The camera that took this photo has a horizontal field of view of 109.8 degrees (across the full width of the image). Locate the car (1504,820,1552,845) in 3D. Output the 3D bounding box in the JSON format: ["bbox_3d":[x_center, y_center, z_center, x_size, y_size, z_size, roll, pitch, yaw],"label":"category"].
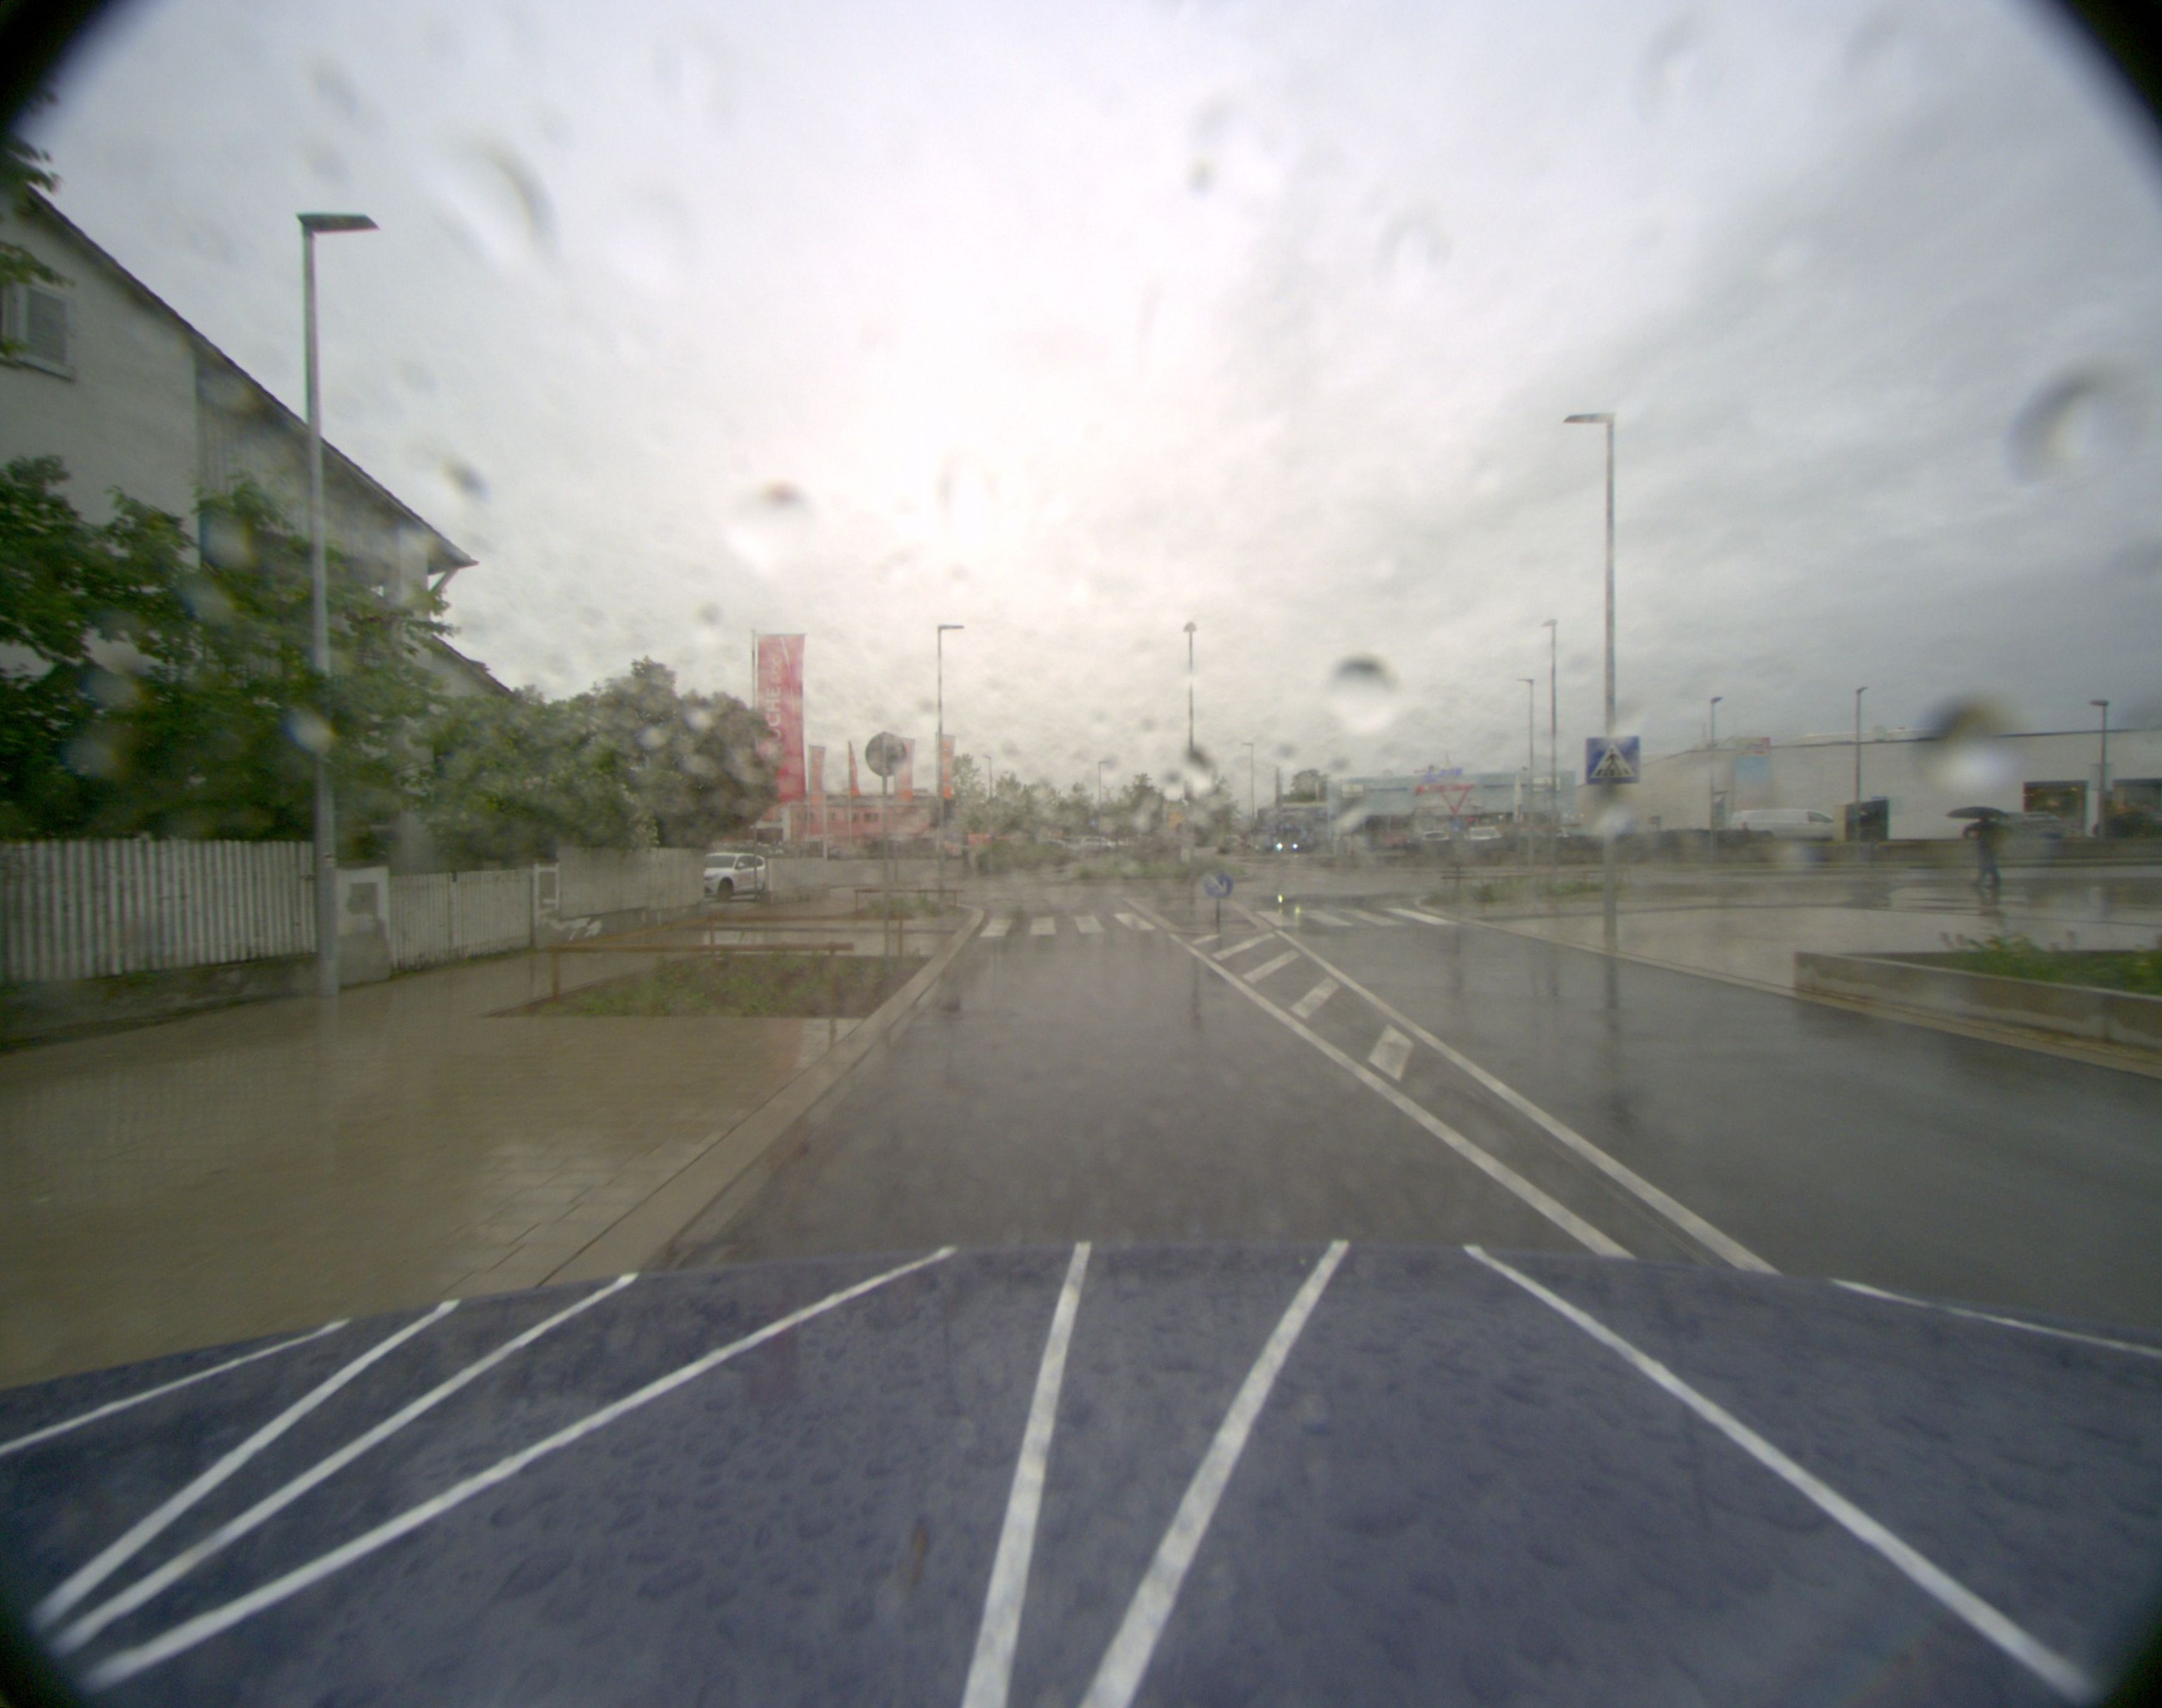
[{"bbox_3d":[26.685,-1.298,45.467,1.884,1.288,4.006,-4,0,23],"label":"car"}]

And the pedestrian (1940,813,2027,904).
[{"bbox_3d":[20.657,0.090,17.414,0.893,2.002,0.931,-2,1,-5],"label":"pedestrian"}]

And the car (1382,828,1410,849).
[{"bbox_3d":[24.884,-1.220,60.025,1.884,1.477,4.006,-4,0,23],"label":"car"}]

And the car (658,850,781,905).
[{"bbox_3d":[-11.967,0.745,25.468,1.845,1.681,4.172,-1,0,5],"label":"car"}]

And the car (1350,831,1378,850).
[{"bbox_3d":[22.541,-1.082,60.464,1.884,1.288,4.006,-4,0,23],"label":"car"}]

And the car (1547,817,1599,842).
[{"bbox_3d":[28.772,-1.430,44.552,1.884,1.288,4.006,-4,0,23],"label":"car"}]

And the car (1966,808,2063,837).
[{"bbox_3d":[53.673,-1.770,43.791,1.790,1.543,4.006,-1,1,21],"label":"car"}]

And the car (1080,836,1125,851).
[{"bbox_3d":[2.126,-1.031,75.336,3.990,1.433,2.003,-1,0,24],"label":"car"}]

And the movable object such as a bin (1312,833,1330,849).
[{"bbox_3d":[21.041,-1.151,66.604,1.212,1.288,1.481,-4,0,23],"label":"movable object such as a bin"}]

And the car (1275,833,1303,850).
[{"bbox_3d":[20.070,-1.198,73.221,1.917,1.521,4.006,-3,0,25],"label":"car"}]

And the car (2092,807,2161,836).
[{"bbox_3d":[58.728,-1.777,41.839,1.790,1.543,4.006,-1,1,21],"label":"car"}]

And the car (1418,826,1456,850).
[{"bbox_3d":[21.960,-0.972,47.005,1.884,1.288,4.006,-4,0,23],"label":"car"}]

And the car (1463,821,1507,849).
[{"bbox_3d":[24.694,-1.137,46.537,1.790,1.543,4.005,-1,1,20],"label":"car"}]

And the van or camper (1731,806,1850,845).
[{"bbox_3d":[39.175,-1.553,42.117,4.372,1.751,1.890,-4,0,23],"label":"van or camper"}]

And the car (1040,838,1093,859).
[{"bbox_3d":[-1.256,-0.494,65.817,4.095,1.696,2.003,-1,0,27],"label":"car"}]
